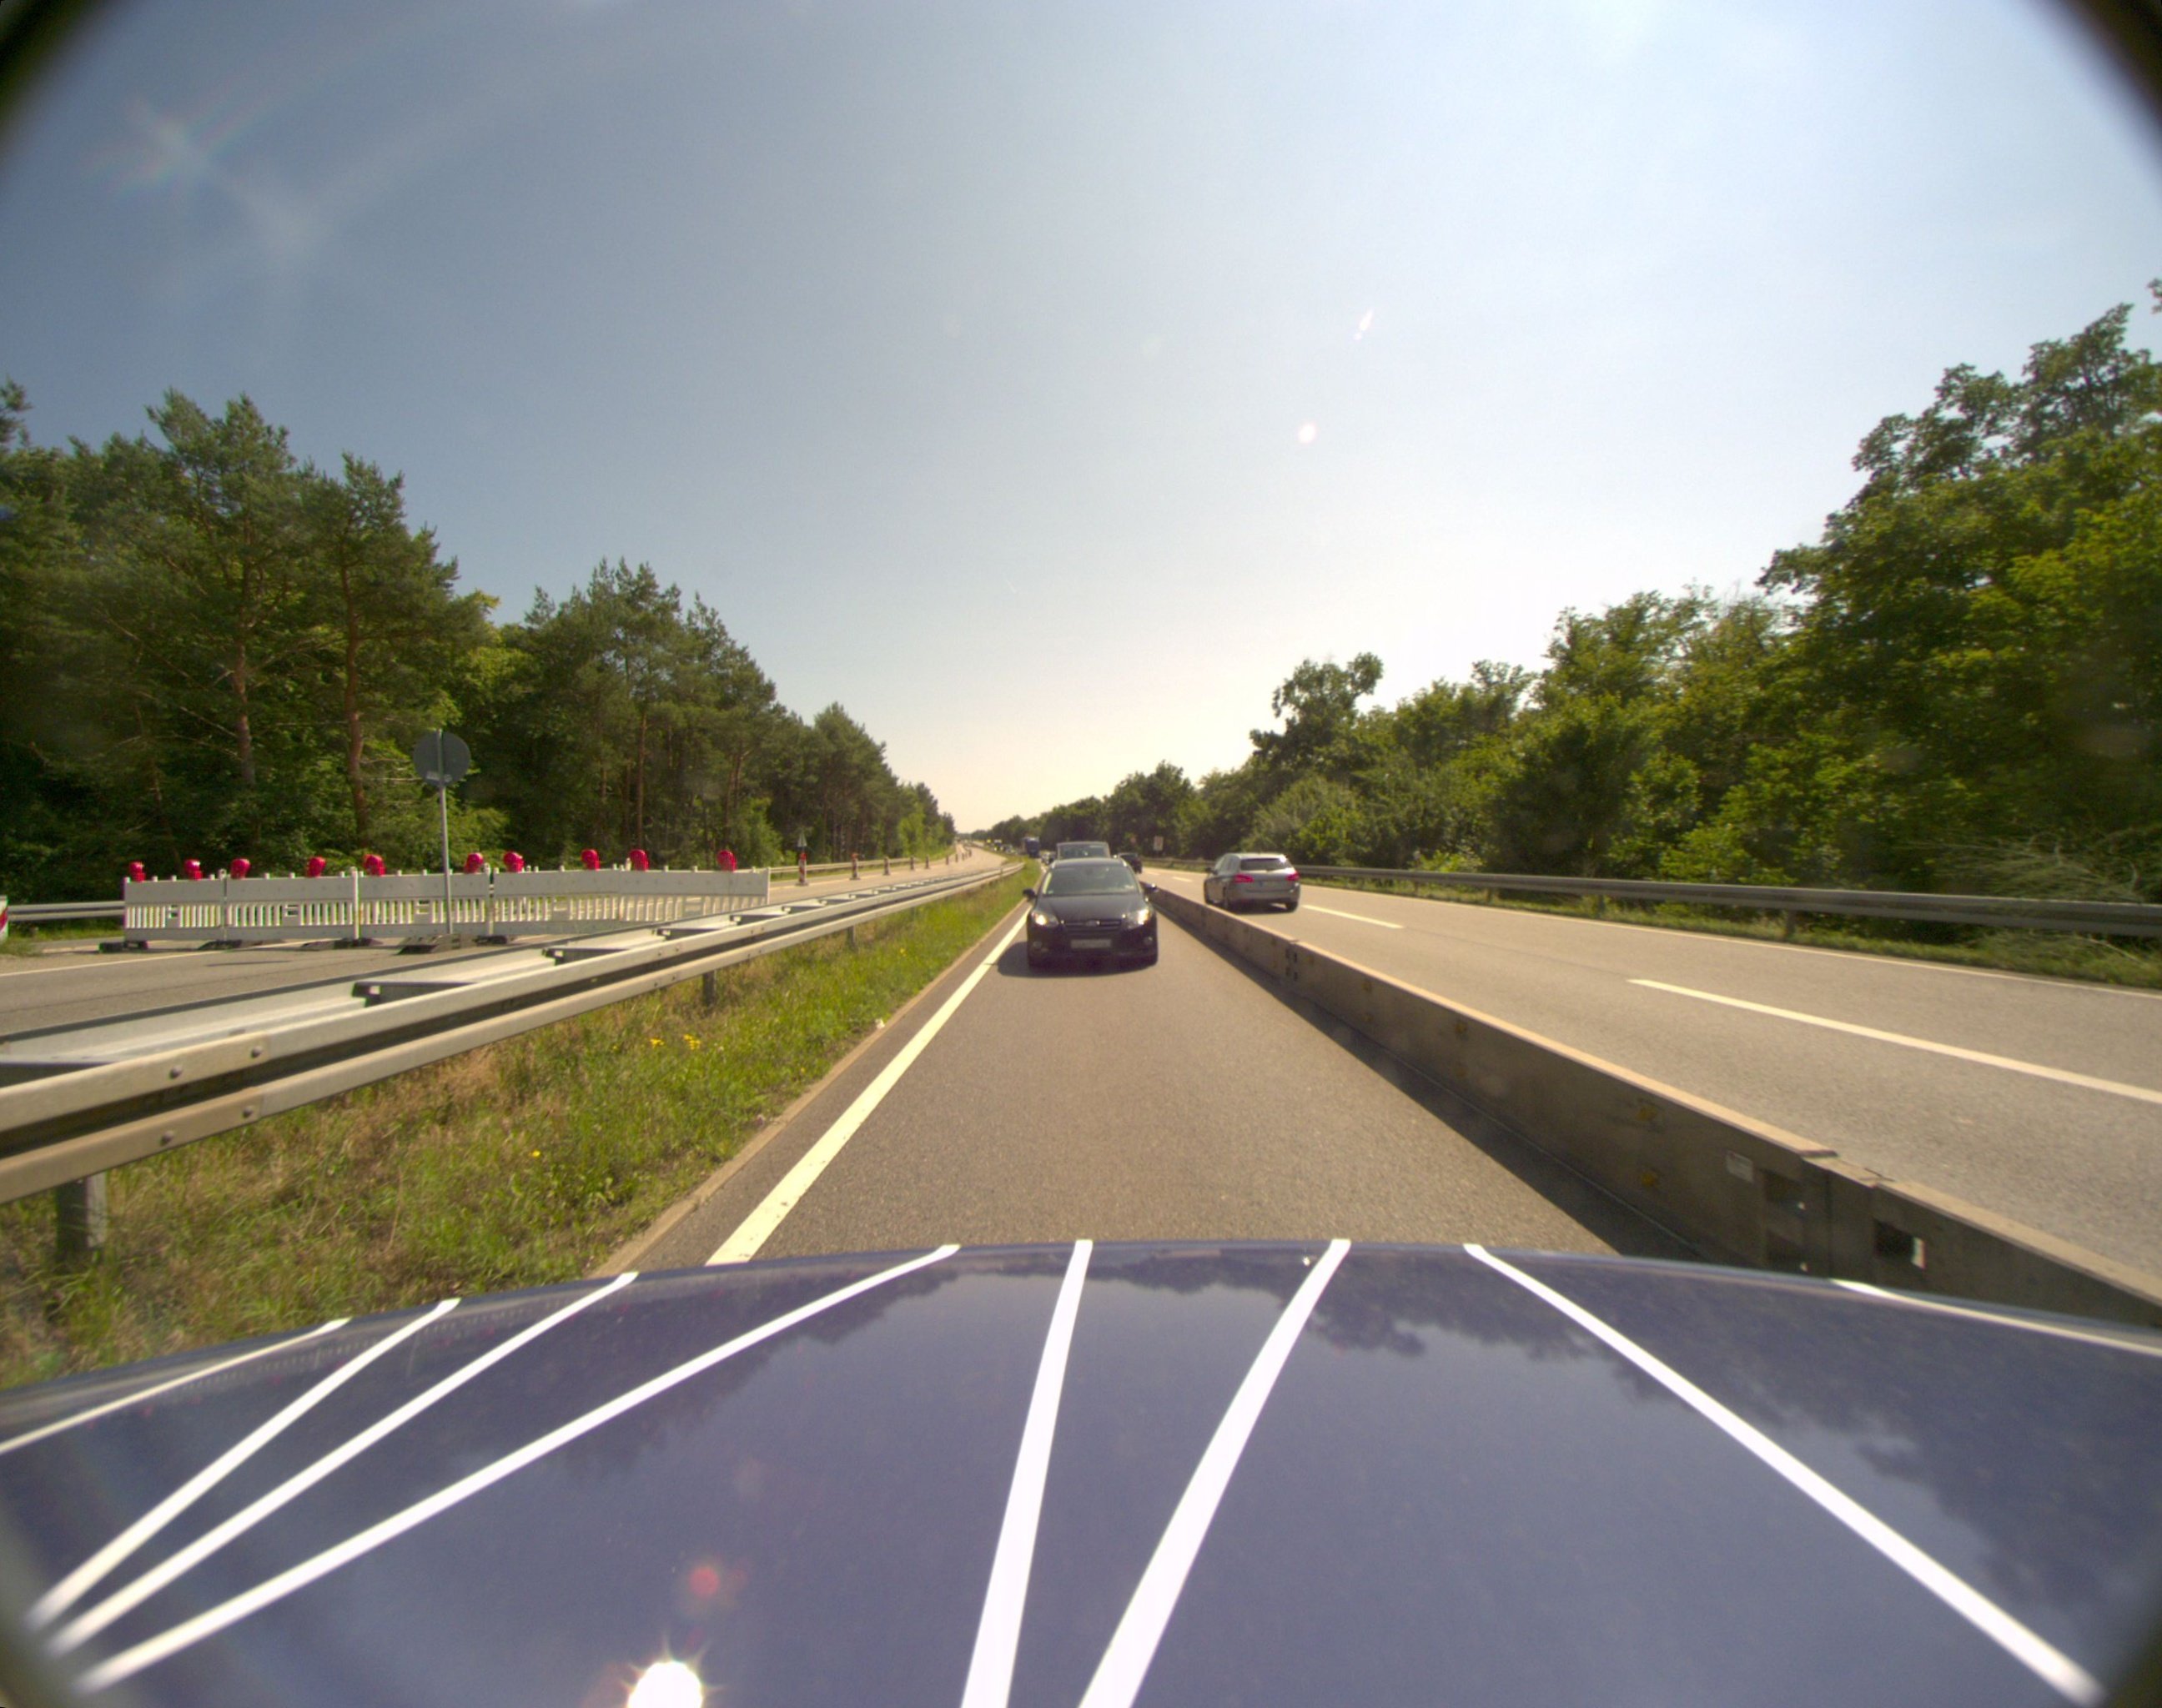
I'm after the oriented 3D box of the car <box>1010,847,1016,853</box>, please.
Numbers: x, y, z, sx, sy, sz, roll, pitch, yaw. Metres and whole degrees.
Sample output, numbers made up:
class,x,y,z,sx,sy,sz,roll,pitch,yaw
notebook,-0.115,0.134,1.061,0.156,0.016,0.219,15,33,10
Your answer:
class,x,y,z,sx,sy,sz,roll,pitch,yaw
car,-19.830,-1.135,221.534,1.528,1.647,3.978,0,0,-7

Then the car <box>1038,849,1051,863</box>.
class,x,y,z,sx,sy,sz,roll,pitch,yaw
car,-4.357,0.231,90.172,1.527,1.647,3.979,-1,0,-3

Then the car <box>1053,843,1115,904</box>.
class,x,y,z,sx,sy,sz,roll,pitch,yaw
car,0.040,0.611,26.677,1.960,1.901,4.934,-1,0,-1

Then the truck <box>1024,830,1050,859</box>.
class,x,y,z,sx,sy,sz,roll,pitch,yaw
truck,-8.568,-1.845,147.346,3.832,5.267,11.236,-1,1,-9

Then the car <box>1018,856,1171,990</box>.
class,x,y,z,sx,sy,sz,roll,pitch,yaw
car,0.031,0.858,11.948,1.847,1.537,4.933,-2,1,-3

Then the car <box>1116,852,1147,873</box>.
class,x,y,z,sx,sy,sz,roll,pitch,yaw
car,3.507,0.572,53.738,1.820,1.416,4.108,-2,0,-1

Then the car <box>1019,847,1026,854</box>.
class,x,y,z,sx,sy,sz,roll,pitch,yaw
car,-13.889,-0.903,180.177,1.527,1.647,3.978,-2,1,-3

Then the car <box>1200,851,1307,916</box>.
class,x,y,z,sx,sy,sz,roll,pitch,yaw
car,4.431,0.699,20.145,1.729,1.487,4.388,-1,0,-1

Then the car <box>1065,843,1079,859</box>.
class,x,y,z,sx,sy,sz,roll,pitch,yaw
car,-1.458,-0.497,121.642,2.067,2.471,5.559,-2,1,-2

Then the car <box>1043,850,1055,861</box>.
class,x,y,z,sx,sy,sz,roll,pitch,yaw
car,-4.476,0.203,106.353,1.527,1.647,3.753,0,0,-3
